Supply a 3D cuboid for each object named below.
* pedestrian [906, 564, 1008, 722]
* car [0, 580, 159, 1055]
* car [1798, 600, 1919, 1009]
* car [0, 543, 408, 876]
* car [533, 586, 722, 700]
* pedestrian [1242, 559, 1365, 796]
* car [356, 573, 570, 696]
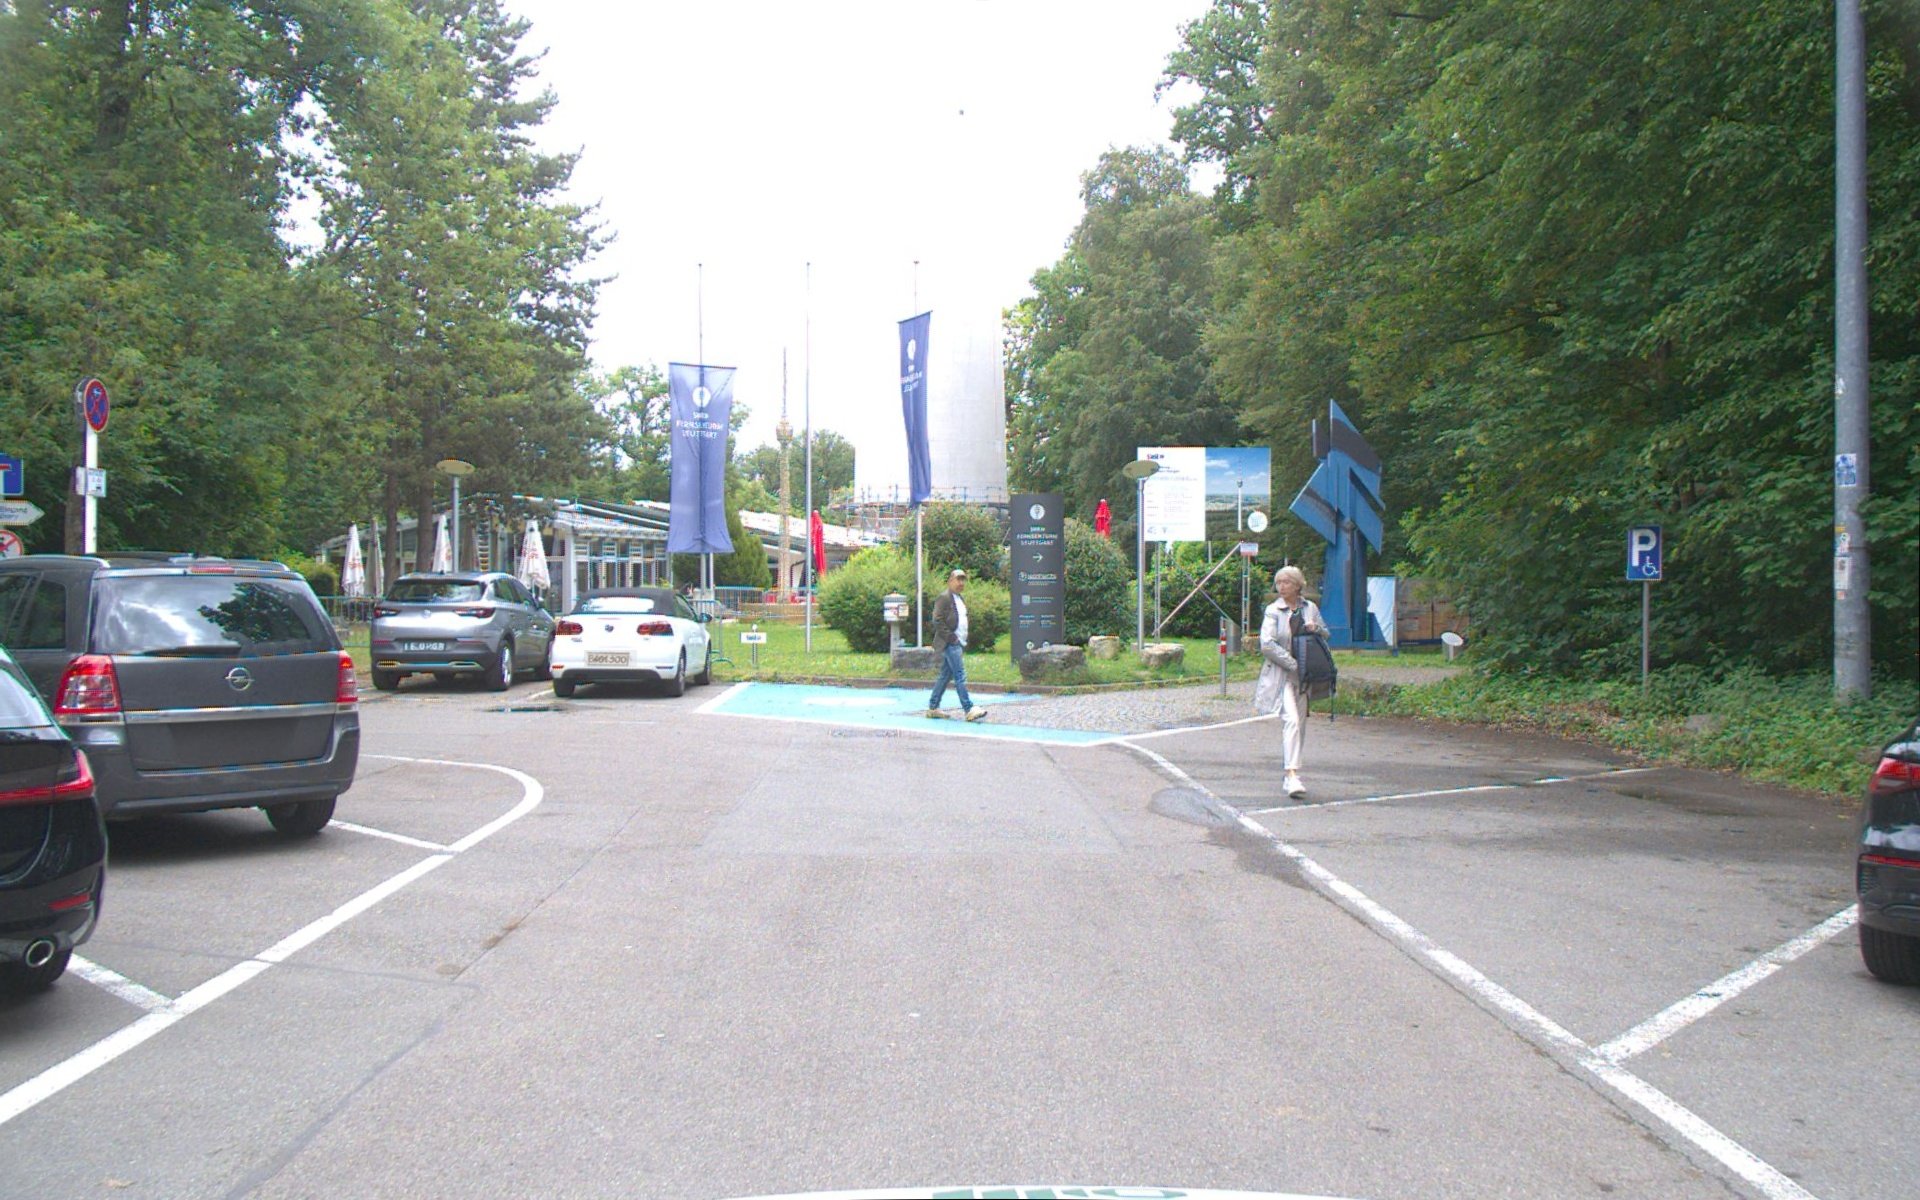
[{"bbox_3d":[-0.035,0.478,18.962,0.879,1.755,0.761,1,0,37],"label":"pedestrian"},{"bbox_3d":[-4.780,0.649,6.221,4.202,1.468,1.749,1,0,42],"label":"car"},{"bbox_3d":[5.319,0.769,7.183,1.867,1.488,4.176,1,0,44],"label":"car"},{"bbox_3d":[-5.356,0.517,10.274,4.311,1.637,1.818,1,0,43],"label":"car"},{"bbox_3d":[-4.562,0.537,23.253,1.854,1.453,4.000,0,0,0],"label":"car"},{"bbox_3d":[2.625,0.574,12.725,0.746,1.755,0.897,1,0,0],"label":"pedestrian"},{"bbox_3d":[-7.049,0.446,23.883,1.854,1.612,4.000,0,0,0],"label":"car"}]
